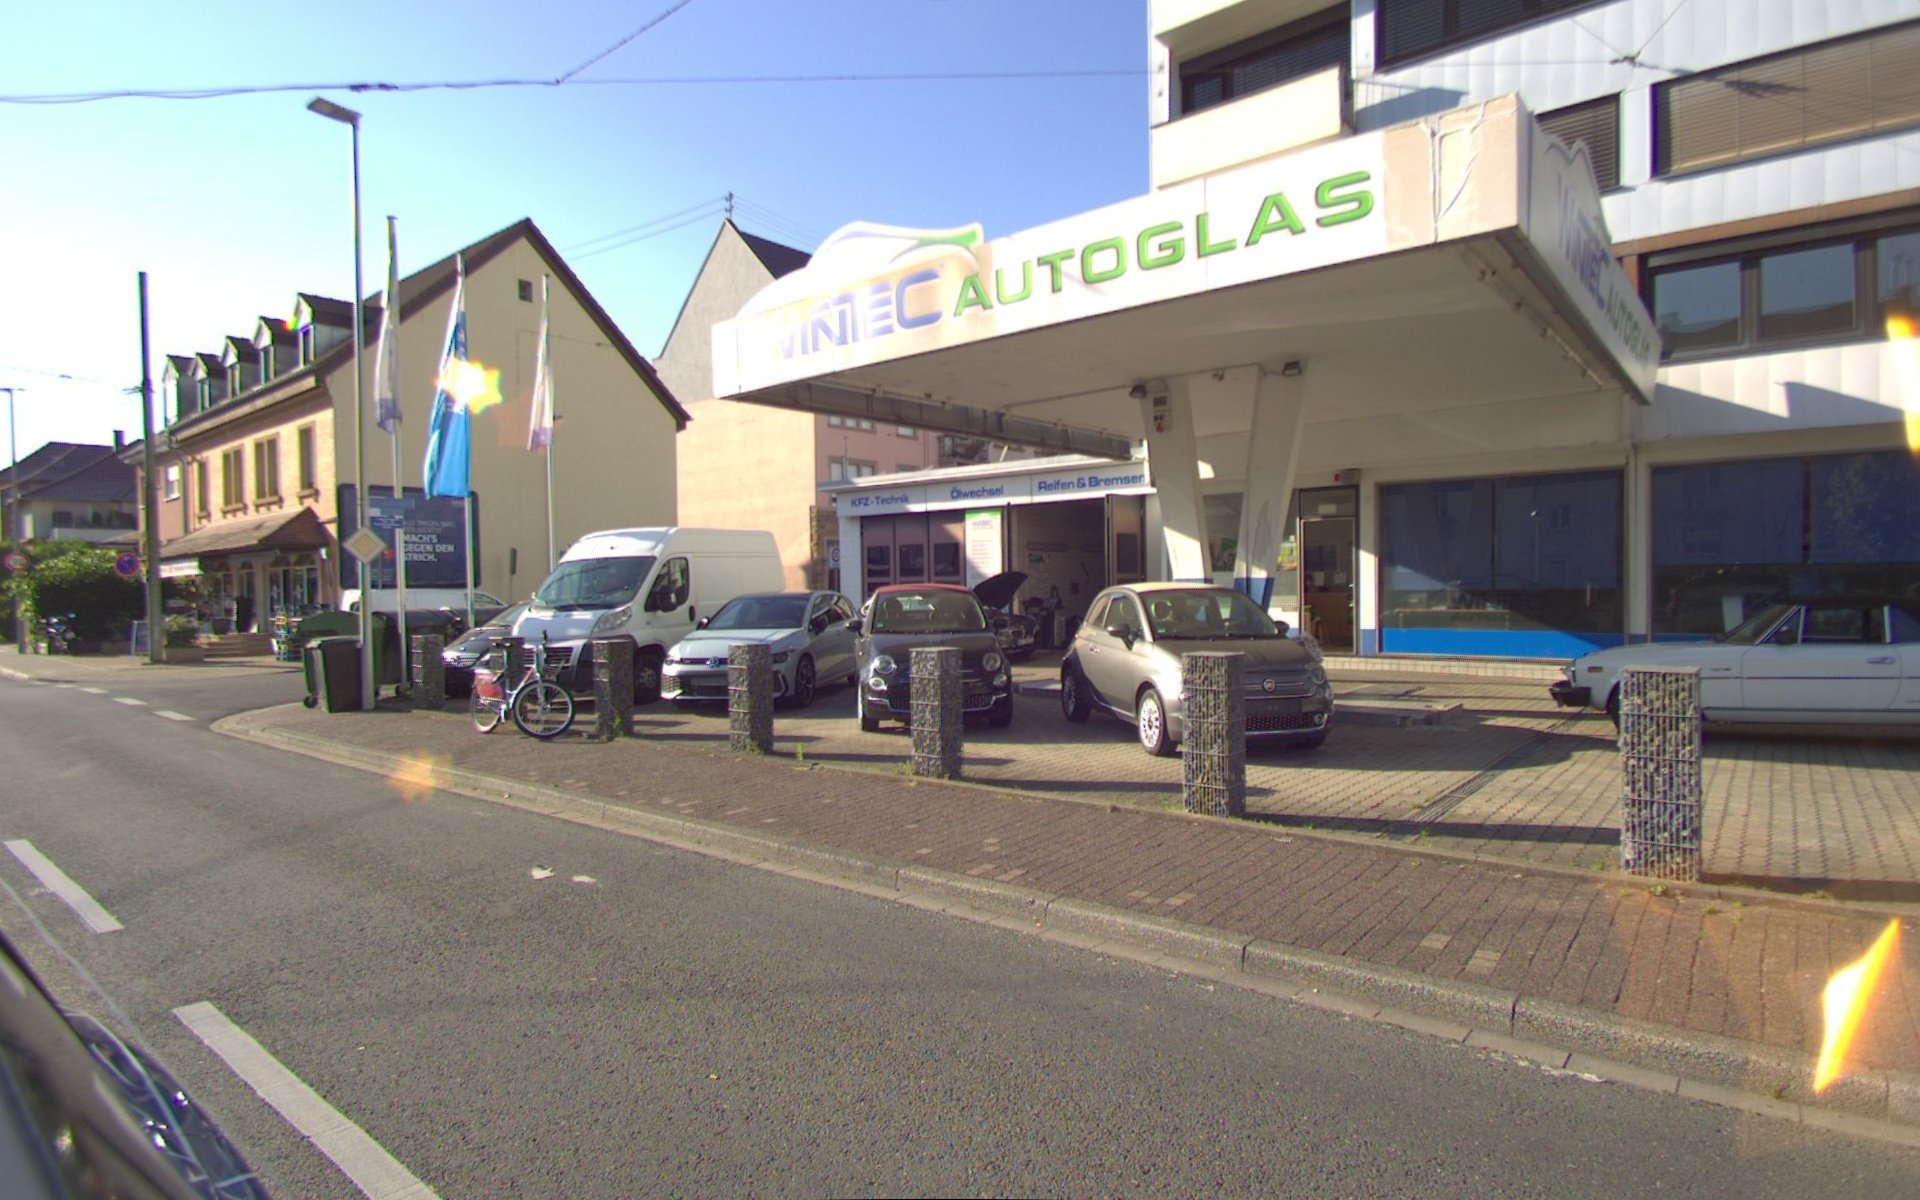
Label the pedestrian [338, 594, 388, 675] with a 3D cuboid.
[{"bbox_3d":[-14.241,0.807,24.135,0.820,1.882,0.784,-1,0,43],"label":"pedestrian"}]

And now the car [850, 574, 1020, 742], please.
[{"bbox_3d":[-0.416,0.536,11.492,1.597,1.580,3.399,-1,1,-6],"label":"car"}]

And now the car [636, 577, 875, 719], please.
[{"bbox_3d":[-2.548,0.527,13.650,1.754,1.580,3.987,-2,1,11],"label":"car"}]

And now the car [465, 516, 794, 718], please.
[{"bbox_3d":[-4.644,0.173,15.230,2.091,2.488,5.042,-1,1,18],"label":"car"}]

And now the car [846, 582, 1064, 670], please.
[{"bbox_3d":[-0.182,0.505,20.728,4.311,1.580,1.750,-2,1,39],"label":"car"}]

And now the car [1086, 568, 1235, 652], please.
[{"bbox_3d":[4.802,0.180,23.826,1.769,1.722,4.263,-2,1,36],"label":"car"}]

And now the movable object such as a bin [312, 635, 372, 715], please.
[{"bbox_3d":[-8.837,1.063,14.463,0.631,1.077,0.581,-2,-2,-38],"label":"movable object such as a bin"}]

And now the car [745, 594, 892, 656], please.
[{"bbox_3d":[-4.124,0.679,29.891,1.999,1.536,3.947,5,4,40],"label":"car"}]

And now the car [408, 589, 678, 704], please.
[{"bbox_3d":[-6.769,0.675,16.863,1.763,1.580,3.966,-2,1,26],"label":"car"}]

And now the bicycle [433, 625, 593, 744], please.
[{"bbox_3d":[-4.941,0.888,11.157,1.774,1.186,0.718,-1,0,31],"label":"bicycle"}]

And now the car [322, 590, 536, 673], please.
[{"bbox_3d":[-13.832,0.740,26.596,1.997,1.947,4.571,-1,0,38],"label":"car"}]

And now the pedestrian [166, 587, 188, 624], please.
[{"bbox_3d":[-27.035,0.174,34.943,0.465,1.268,0.517,-1,0,42],"label":"pedestrian"}]

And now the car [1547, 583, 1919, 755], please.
[{"bbox_3d":[7.445,0.528,8.544,4.131,1.294,1.572,-2,0,37],"label":"car"}]

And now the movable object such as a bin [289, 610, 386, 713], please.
[{"bbox_3d":[-9.769,0.950,15.948,1.040,1.494,1.316,-3,-2,-21],"label":"movable object such as a bin"}]

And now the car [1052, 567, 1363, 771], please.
[{"bbox_3d":[2.162,0.526,9.787,1.595,1.580,3.402,-1,1,-11],"label":"car"}]

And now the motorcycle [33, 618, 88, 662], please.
[{"bbox_3d":[-28.048,1.220,31.550,2.229,1.292,0.831,0,2,37],"label":"motorcycle"}]

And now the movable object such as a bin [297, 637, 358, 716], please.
[{"bbox_3d":[-9.297,1.107,14.876,0.652,1.070,0.586,-4,1,-38],"label":"movable object such as a bin"}]
